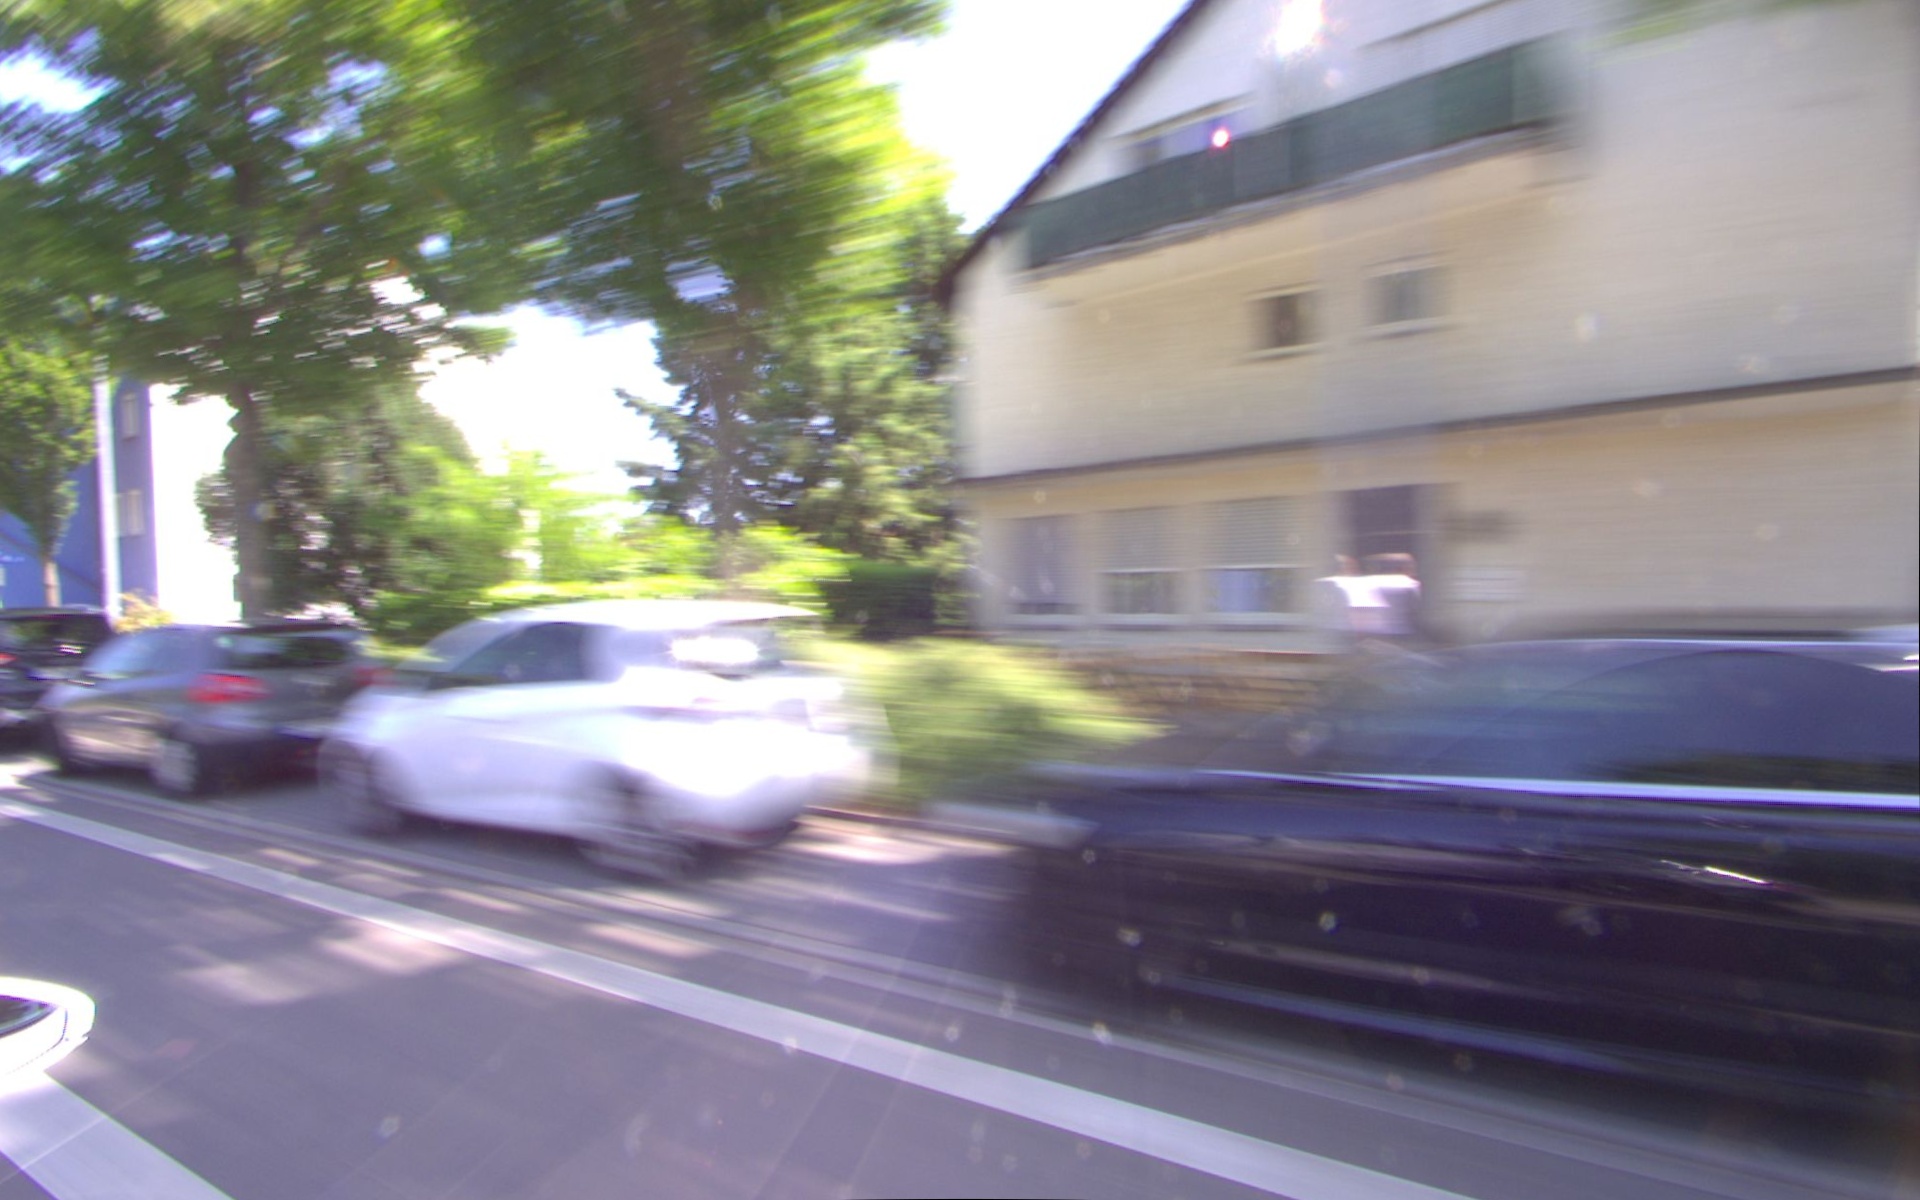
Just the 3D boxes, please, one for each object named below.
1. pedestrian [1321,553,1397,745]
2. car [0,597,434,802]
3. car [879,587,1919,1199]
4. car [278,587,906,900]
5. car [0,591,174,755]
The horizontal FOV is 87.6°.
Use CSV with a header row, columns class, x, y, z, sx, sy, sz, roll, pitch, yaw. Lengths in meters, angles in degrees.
class,x,y,z,sx,sy,sz,roll,pitch,yaw
pedestrian,3.826,0.450,9.574,0.623,1.744,0.747,0,1,26
car,-7.370,0.810,9.841,4.288,1.551,1.837,0,3,30
car,2.203,0.734,3.559,4.753,1.456,1.836,0,3,31
car,-2.629,0.752,6.992,4.142,1.551,1.837,0,3,30
car,-12.058,0.813,12.740,4.562,1.730,1.835,0,3,34
